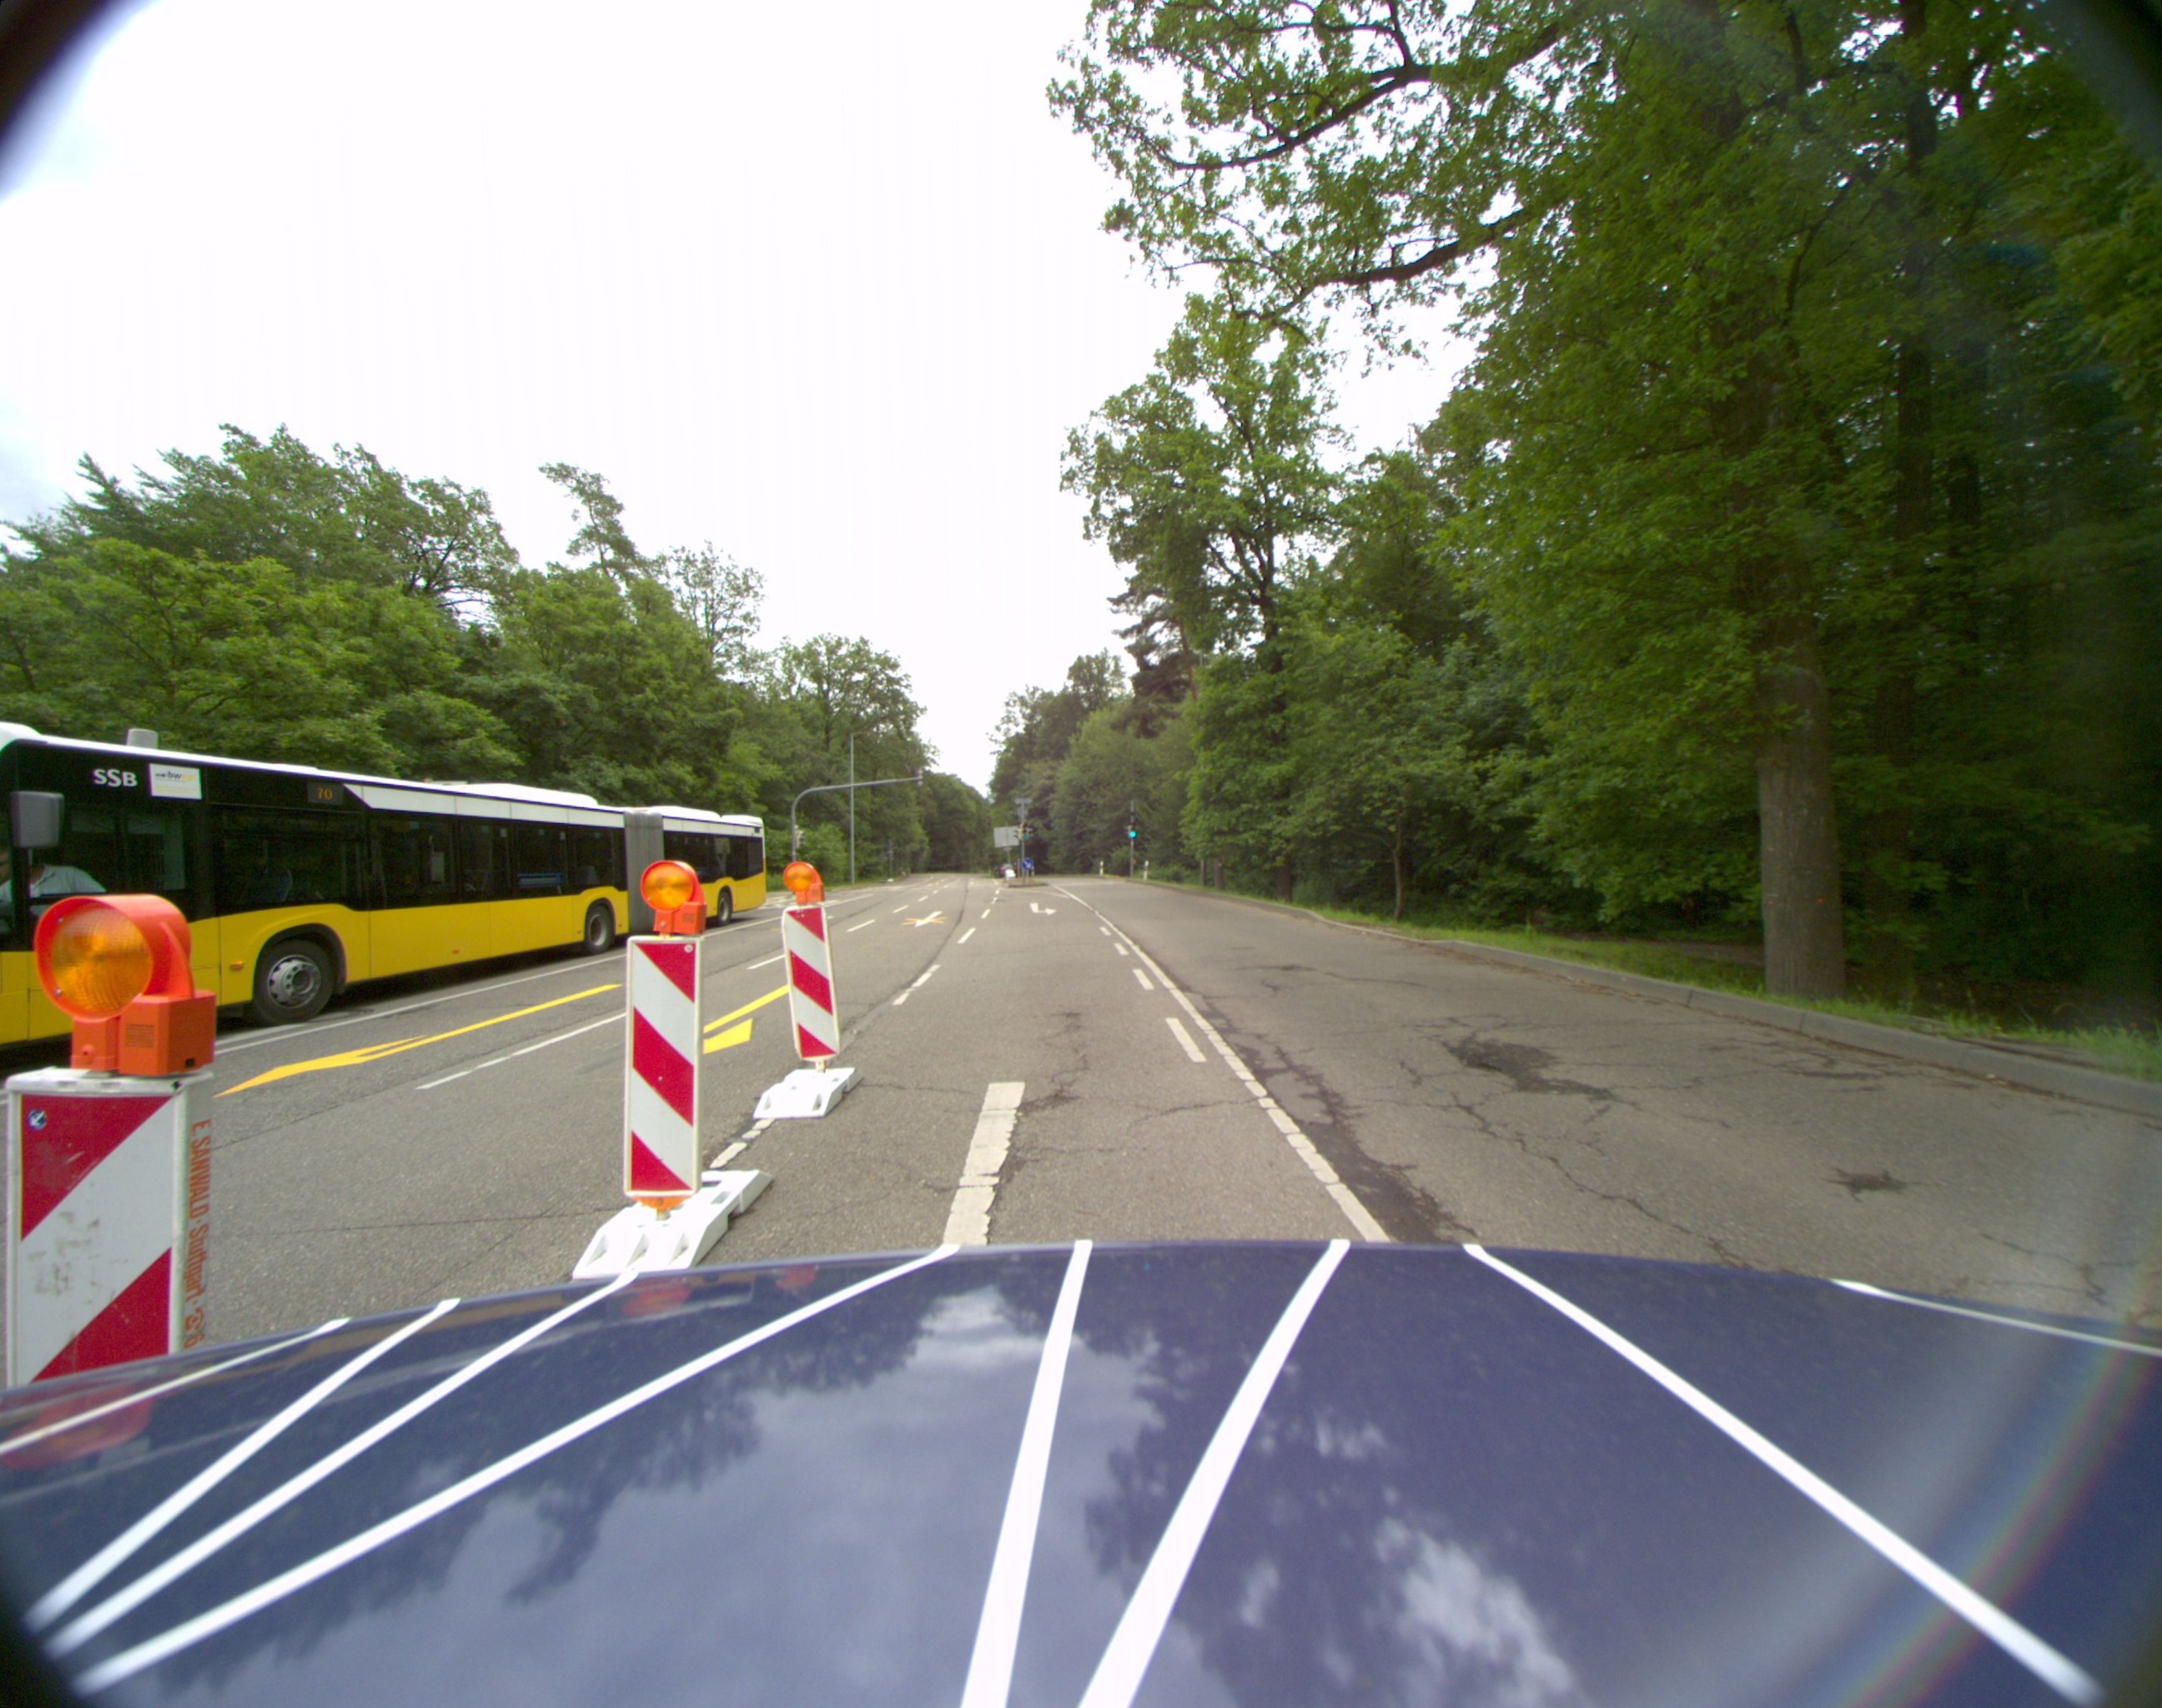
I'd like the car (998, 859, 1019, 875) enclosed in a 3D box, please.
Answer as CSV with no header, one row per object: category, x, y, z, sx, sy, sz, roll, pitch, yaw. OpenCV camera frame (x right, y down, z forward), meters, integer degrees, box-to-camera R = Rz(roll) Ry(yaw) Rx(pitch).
car,-6.806,1.204,71.375,1.752,1.322,3.996,-2,1,-8

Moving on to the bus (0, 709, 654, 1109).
bus,-10.189,0.451,10.756,2.811,3.140,10.514,-2,0,-4

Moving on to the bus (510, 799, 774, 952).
bus,-10.793,0.431,19.877,2.811,3.140,7.753,-2,0,-5
